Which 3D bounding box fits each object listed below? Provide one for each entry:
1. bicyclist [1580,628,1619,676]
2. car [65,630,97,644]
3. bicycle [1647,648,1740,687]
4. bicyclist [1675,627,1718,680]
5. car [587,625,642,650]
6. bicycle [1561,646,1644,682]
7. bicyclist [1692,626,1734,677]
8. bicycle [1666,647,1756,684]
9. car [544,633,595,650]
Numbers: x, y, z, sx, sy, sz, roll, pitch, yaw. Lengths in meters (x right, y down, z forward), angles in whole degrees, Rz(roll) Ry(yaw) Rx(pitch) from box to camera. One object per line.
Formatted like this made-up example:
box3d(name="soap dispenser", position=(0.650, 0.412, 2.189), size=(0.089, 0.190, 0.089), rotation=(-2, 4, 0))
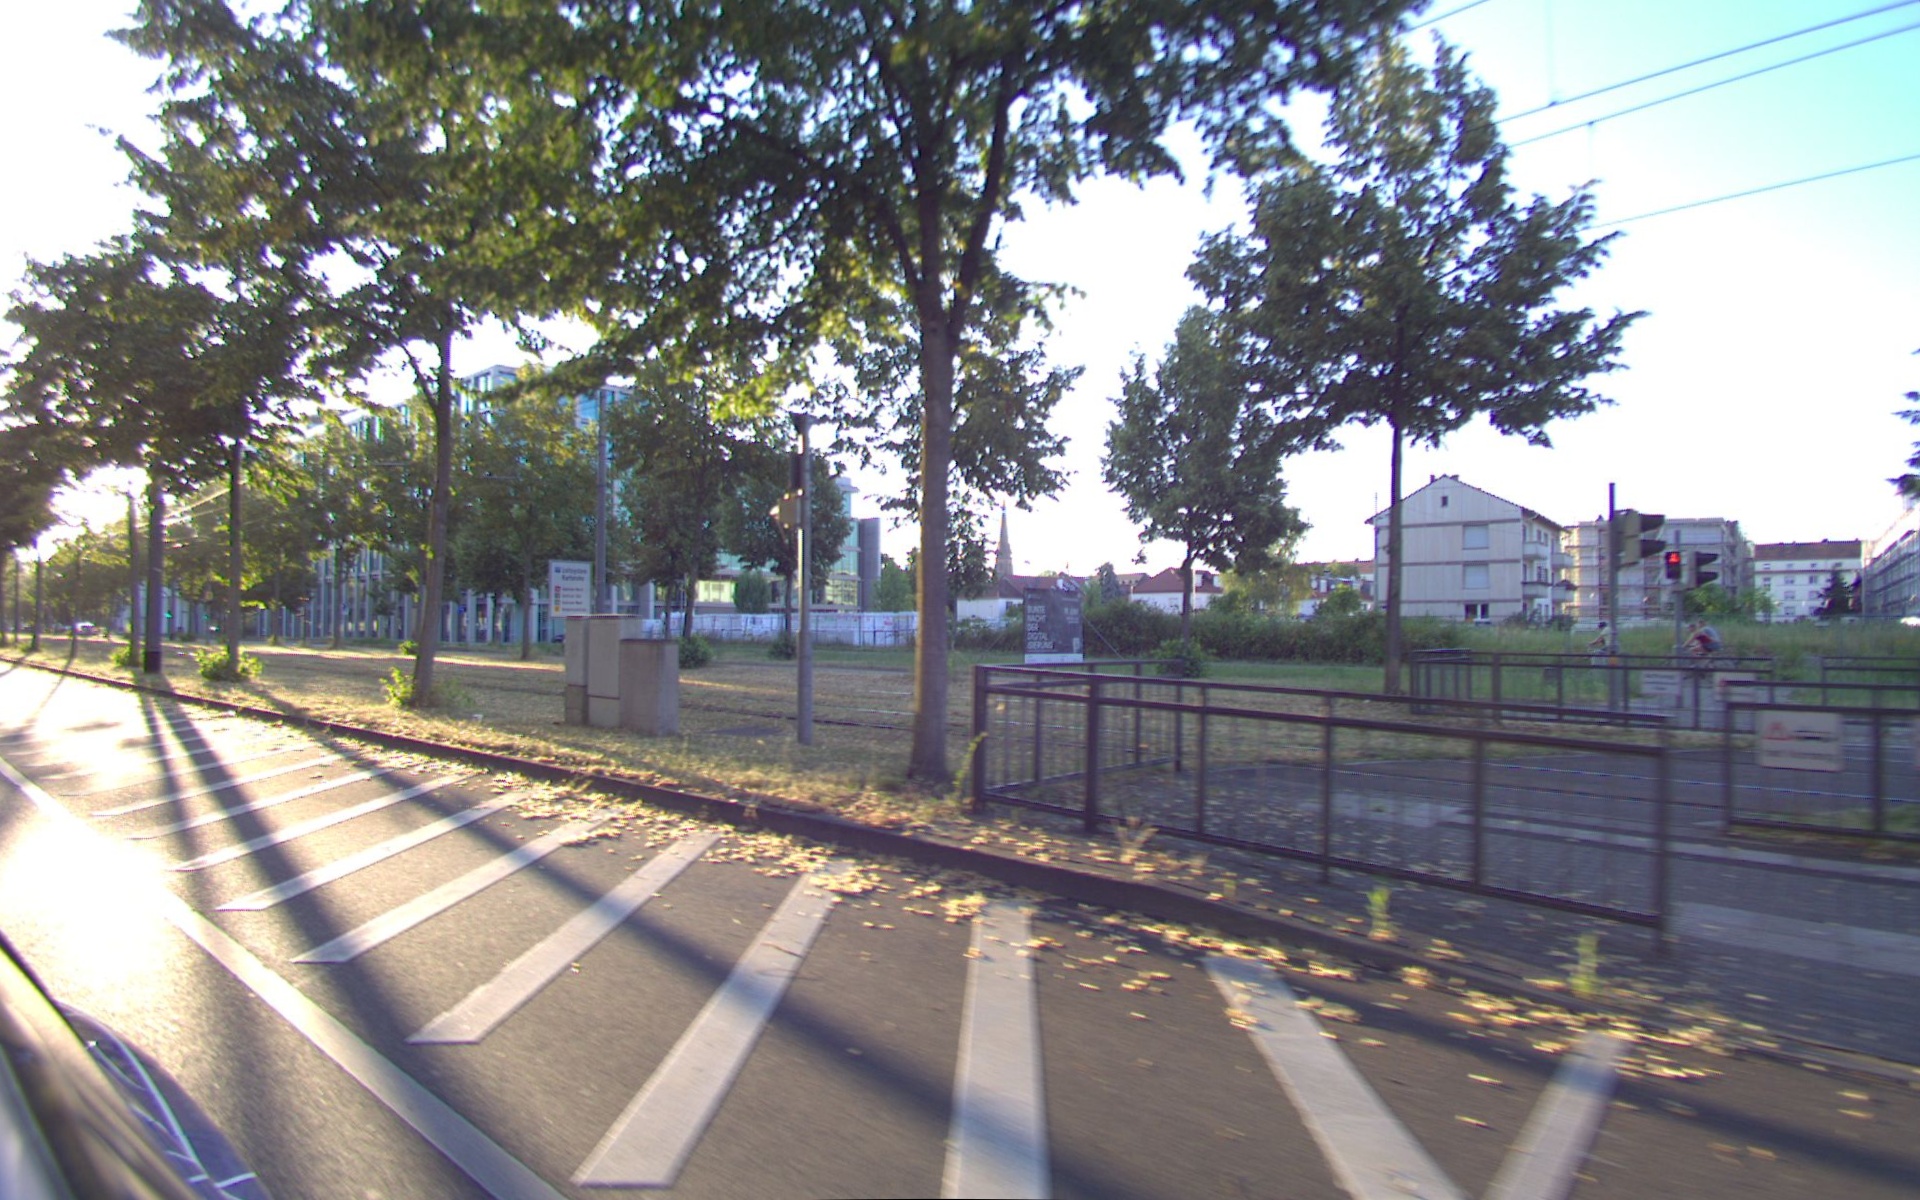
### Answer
box3d(name="bicyclist", position=(19.759, 1.591, 31.272), size=(0.936, 1.432, 0.613), rotation=(-1, -2, 39))
box3d(name="car", position=(-97.789, 4.079, 112.573), size=(4.627, 1.497, 1.883), rotation=(-2, -3, 40))
box3d(name="bicycle", position=(20.722, 1.888, 28.608), size=(2.081, 1.019, 0.613), rotation=(-1, -2, 40))
box3d(name="bicyclist", position=(20.798, 1.502, 28.580), size=(0.936, 1.467, 0.613), rotation=(-1, -2, 39))
box3d(name="car", position=(-29.117, 3.131, 85.257), size=(5.082, 2.029, 2.183), rotation=(-2, -3, 42))
box3d(name="bicycle", position=(19.797, 1.959, 31.213), size=(2.081, 1.019, 0.613), rotation=(-1, -2, 40))
box3d(name="bicyclist", position=(21.902, 1.490, 29.425), size=(0.936, 1.467, 0.613), rotation=(-1, -2, 39))
box3d(name="bicycle", position=(21.834, 1.890, 29.452), size=(2.081, 1.019, 0.613), rotation=(-1, -2, 40))
box3d(name="car", position=(-35.520, 3.756, 92.138), size=(1.895, 1.457, 3.942), rotation=(-2, -3, 44))
